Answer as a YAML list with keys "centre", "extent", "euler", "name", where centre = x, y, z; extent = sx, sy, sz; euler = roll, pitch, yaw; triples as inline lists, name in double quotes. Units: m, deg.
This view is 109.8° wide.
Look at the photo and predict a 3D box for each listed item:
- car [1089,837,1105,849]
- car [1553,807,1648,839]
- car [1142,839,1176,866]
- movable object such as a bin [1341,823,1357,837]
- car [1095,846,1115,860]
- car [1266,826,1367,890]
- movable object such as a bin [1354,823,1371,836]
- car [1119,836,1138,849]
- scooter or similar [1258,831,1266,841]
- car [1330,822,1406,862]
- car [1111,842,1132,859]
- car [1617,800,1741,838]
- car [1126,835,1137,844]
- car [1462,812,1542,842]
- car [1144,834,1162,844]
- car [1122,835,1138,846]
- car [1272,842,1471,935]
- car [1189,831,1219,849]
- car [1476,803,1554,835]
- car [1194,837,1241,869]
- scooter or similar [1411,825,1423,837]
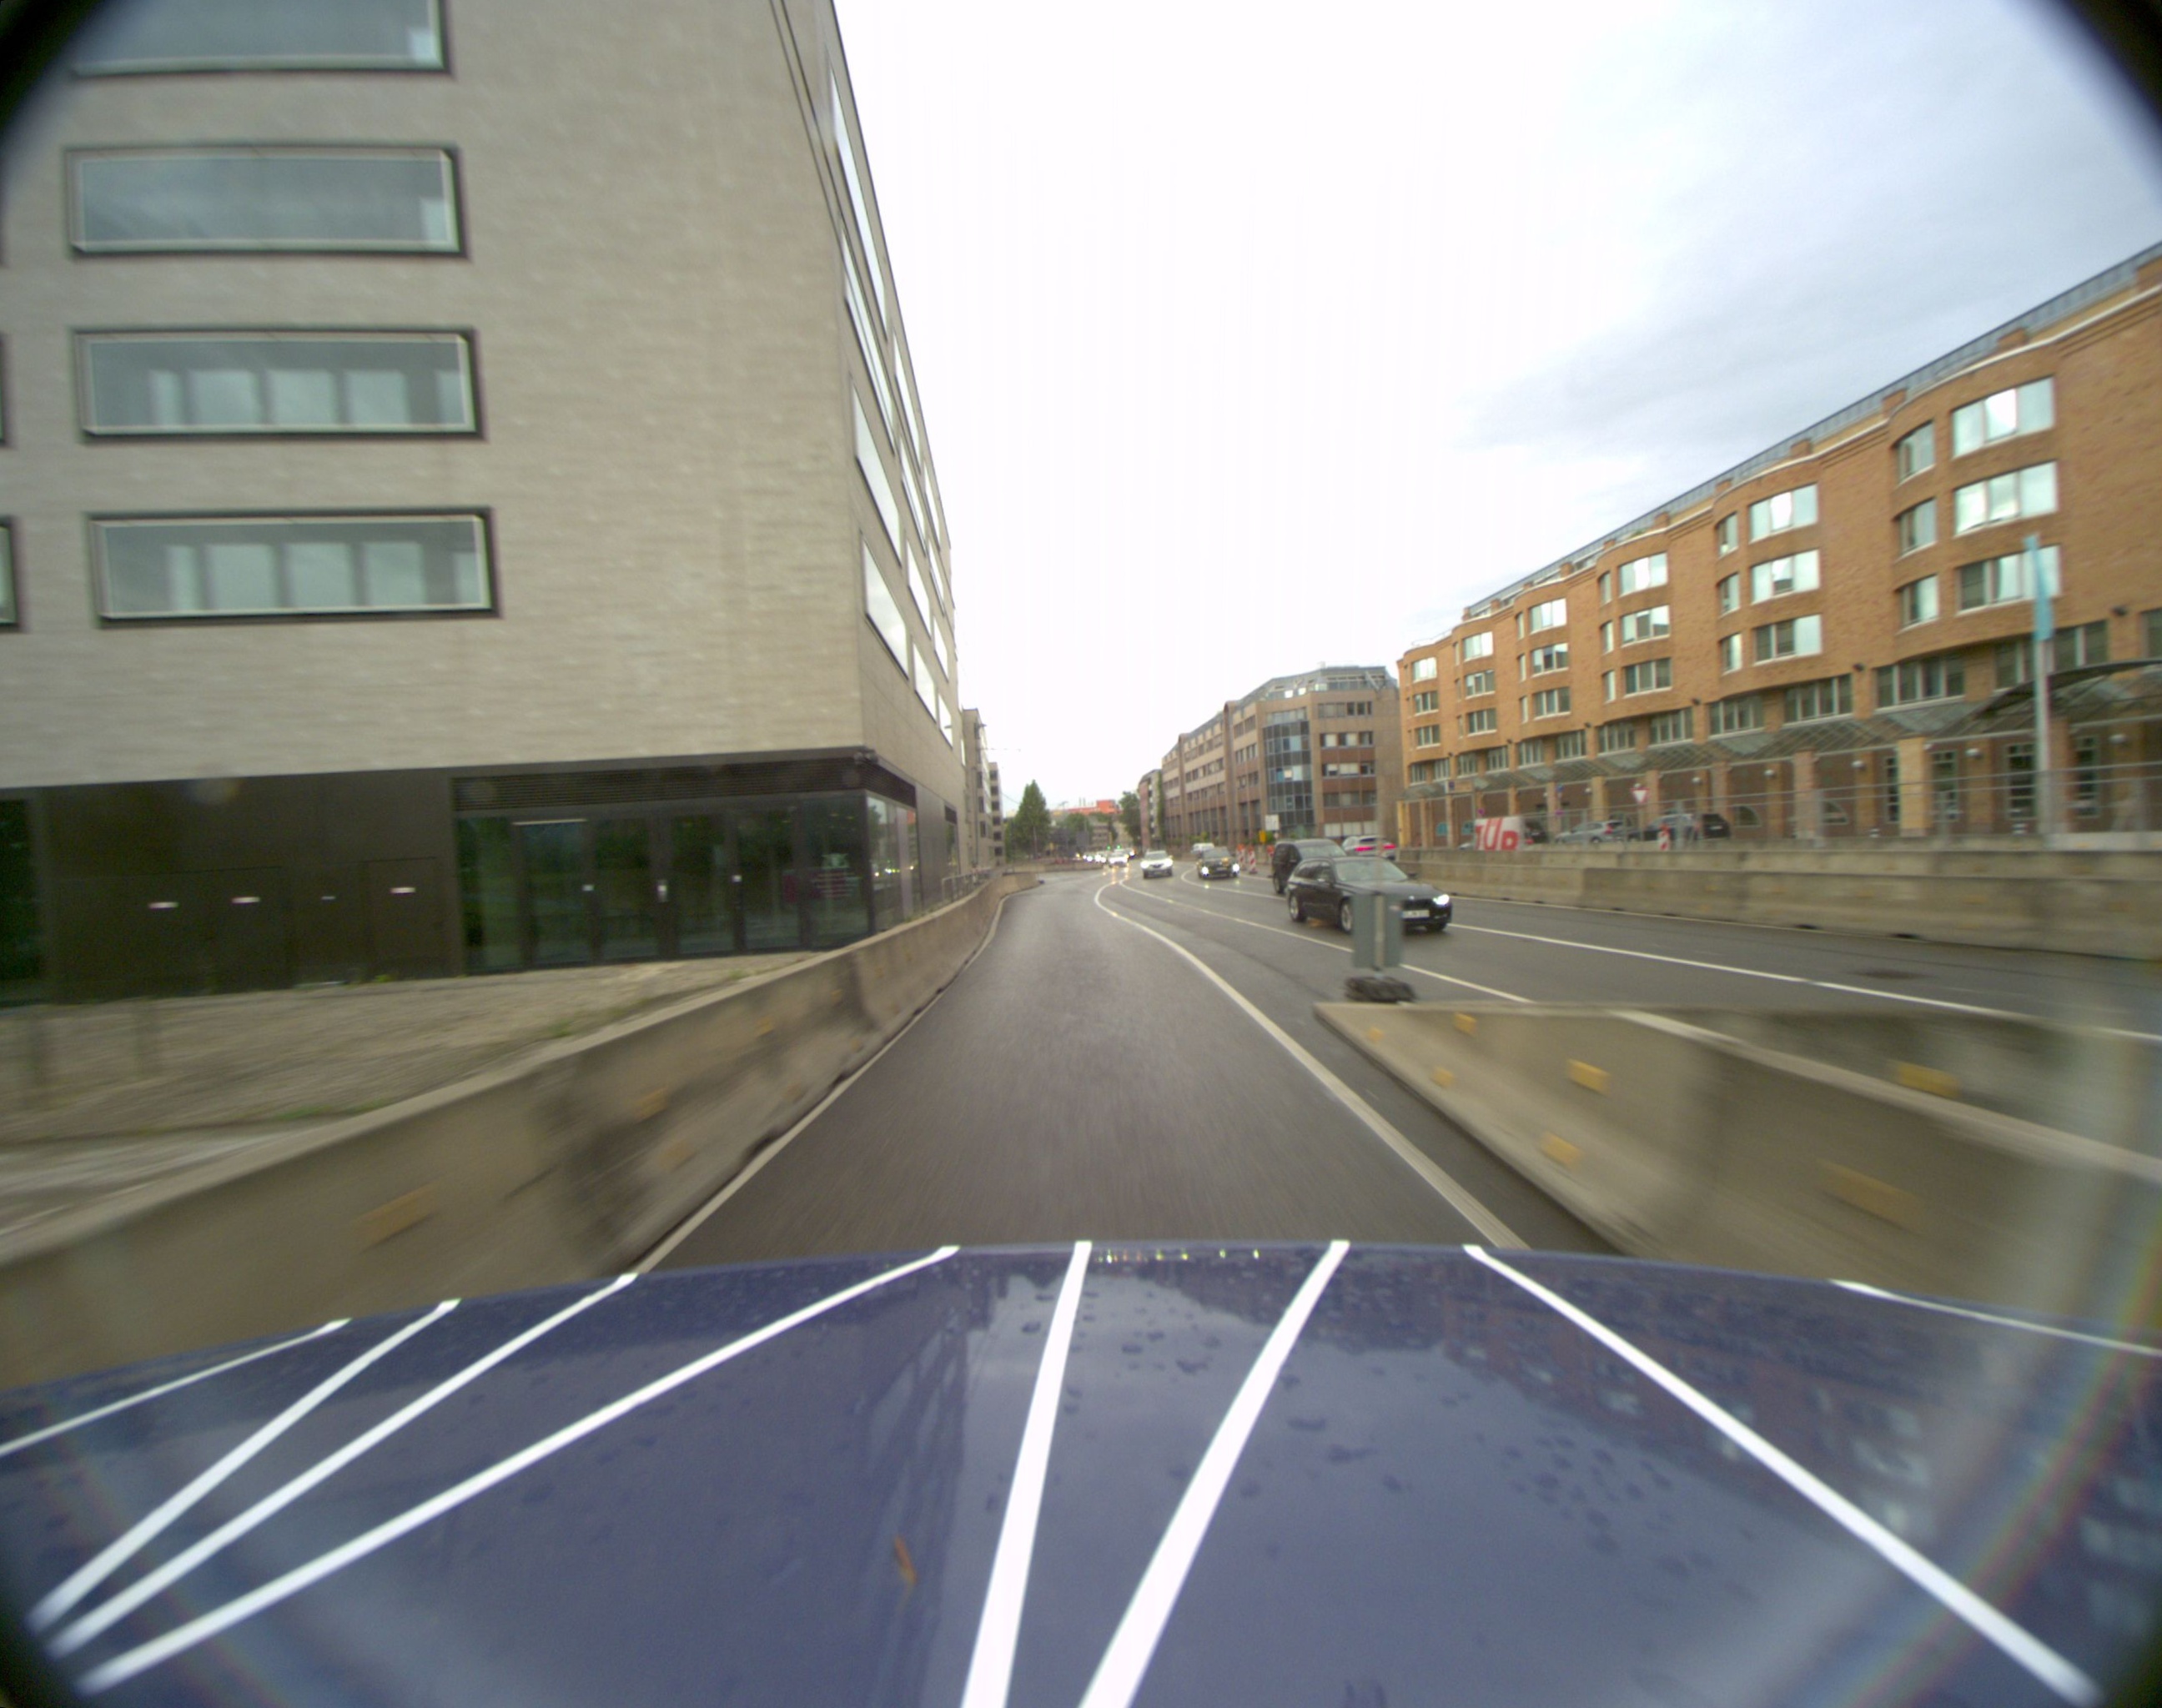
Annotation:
- centre: [2.250, -1.519, 108.470]
  extent: [1.773, 1.525, 4.653]
  euler: [-4, 1, -5]
  name: "car"
- centre: [30.109, -1.752, 44.250]
  extent: [2.000, 1.585, 4.536]
  euler: [-4, 1, -7]
  name: "car"
- centre: [4.909, -0.132, 48.345]
  extent: [1.772, 1.525, 4.656]
  euler: [-4, 1, 3]
  name: "car"
- centre: [30.316, -2.751, 85.873]
  extent: [1.246, 1.471, 1.349]
  euler: [-4, 1, -3]
  name: "movable object such as a bin"
- centre: [2.884, -0.146, 91.456]
  extent: [1.773, 1.525, 4.653]
  euler: [-4, 1, -5]
  name: "car"
- centre: [7.531, 0.085, 24.744]
  extent: [1.799, 1.790, 4.249]
  euler: [-4, 1, -1]
  name: "car"
- centre: [31.975, -2.782, 86.382]
  extent: [1.246, 1.471, 1.349]
  euler: [-4, 1, -4]
  name: "movable object such as a bin"
- centre: [6.231, -1.472, 100.484]
  extent: [1.773, 1.525, 4.653]
  euler: [-4, 1, -5]
  name: "car"
- centre: [21.348, -2.103, 89.504]
  extent: [0.450, 1.057, 1.043]
  euler: [-4, 1, -15]
  name: "scooter or similar"
- centre: [13.337, -0.554, 35.636]
  extent: [1.998, 1.614, 4.703]
  euler: [-3, 1, 4]
  name: "car"
- centre: [4.249, -0.411, 79.933]
  extent: [1.771, 1.525, 4.657]
  euler: [-4, 1, 7]
  name: "car"
- centre: [30.386, -1.731, 38.846]
  extent: [1.999, 1.681, 5.046]
  euler: [-4, 1, -5]
  name: "car"
- centre: [10.919, -3.095, 164.611]
  extent: [1.891, 1.773, 4.874]
  euler: [-4, 1, -3]
  name: "car"
- centre: [23.269, -1.465, 42.190]
  extent: [1.765, 1.517, 4.361]
  euler: [-3, 1, -5]
  name: "car"
- centre: [11.571, -2.352, 122.373]
  extent: [1.999, 1.451, 4.225]
  euler: [-4, 1, -7]
  name: "car"
- centre: [7.572, -2.124, 118.544]
  extent: [1.773, 1.525, 4.653]
  euler: [-4, 1, -5]
  name: "car"
- centre: [5.487, 0.551, 15.107]
  extent: [1.773, 1.435, 4.653]
  euler: [-4, 1, -5]
  name: "car"
- centre: [14.005, -1.596, 87.000]
  extent: [2.000, 1.874, 4.866]
  euler: [-4, 1, -7]
  name: "car"
- centre: [29.409, -2.313, 51.715]
  extent: [1.999, 1.875, 5.010]
  euler: [-4, 1, -6]
  name: "car"
- centre: [7.207, -0.107, 40.513]
  extent: [1.772, 1.525, 4.355]
  euler: [-4, 1, 2]
  name: "car"
- centre: [31.613, -2.146, 71.454]
  extent: [0.450, 1.057, 1.043]
  euler: [-4, 1, -17]
  name: "scooter or similar"
